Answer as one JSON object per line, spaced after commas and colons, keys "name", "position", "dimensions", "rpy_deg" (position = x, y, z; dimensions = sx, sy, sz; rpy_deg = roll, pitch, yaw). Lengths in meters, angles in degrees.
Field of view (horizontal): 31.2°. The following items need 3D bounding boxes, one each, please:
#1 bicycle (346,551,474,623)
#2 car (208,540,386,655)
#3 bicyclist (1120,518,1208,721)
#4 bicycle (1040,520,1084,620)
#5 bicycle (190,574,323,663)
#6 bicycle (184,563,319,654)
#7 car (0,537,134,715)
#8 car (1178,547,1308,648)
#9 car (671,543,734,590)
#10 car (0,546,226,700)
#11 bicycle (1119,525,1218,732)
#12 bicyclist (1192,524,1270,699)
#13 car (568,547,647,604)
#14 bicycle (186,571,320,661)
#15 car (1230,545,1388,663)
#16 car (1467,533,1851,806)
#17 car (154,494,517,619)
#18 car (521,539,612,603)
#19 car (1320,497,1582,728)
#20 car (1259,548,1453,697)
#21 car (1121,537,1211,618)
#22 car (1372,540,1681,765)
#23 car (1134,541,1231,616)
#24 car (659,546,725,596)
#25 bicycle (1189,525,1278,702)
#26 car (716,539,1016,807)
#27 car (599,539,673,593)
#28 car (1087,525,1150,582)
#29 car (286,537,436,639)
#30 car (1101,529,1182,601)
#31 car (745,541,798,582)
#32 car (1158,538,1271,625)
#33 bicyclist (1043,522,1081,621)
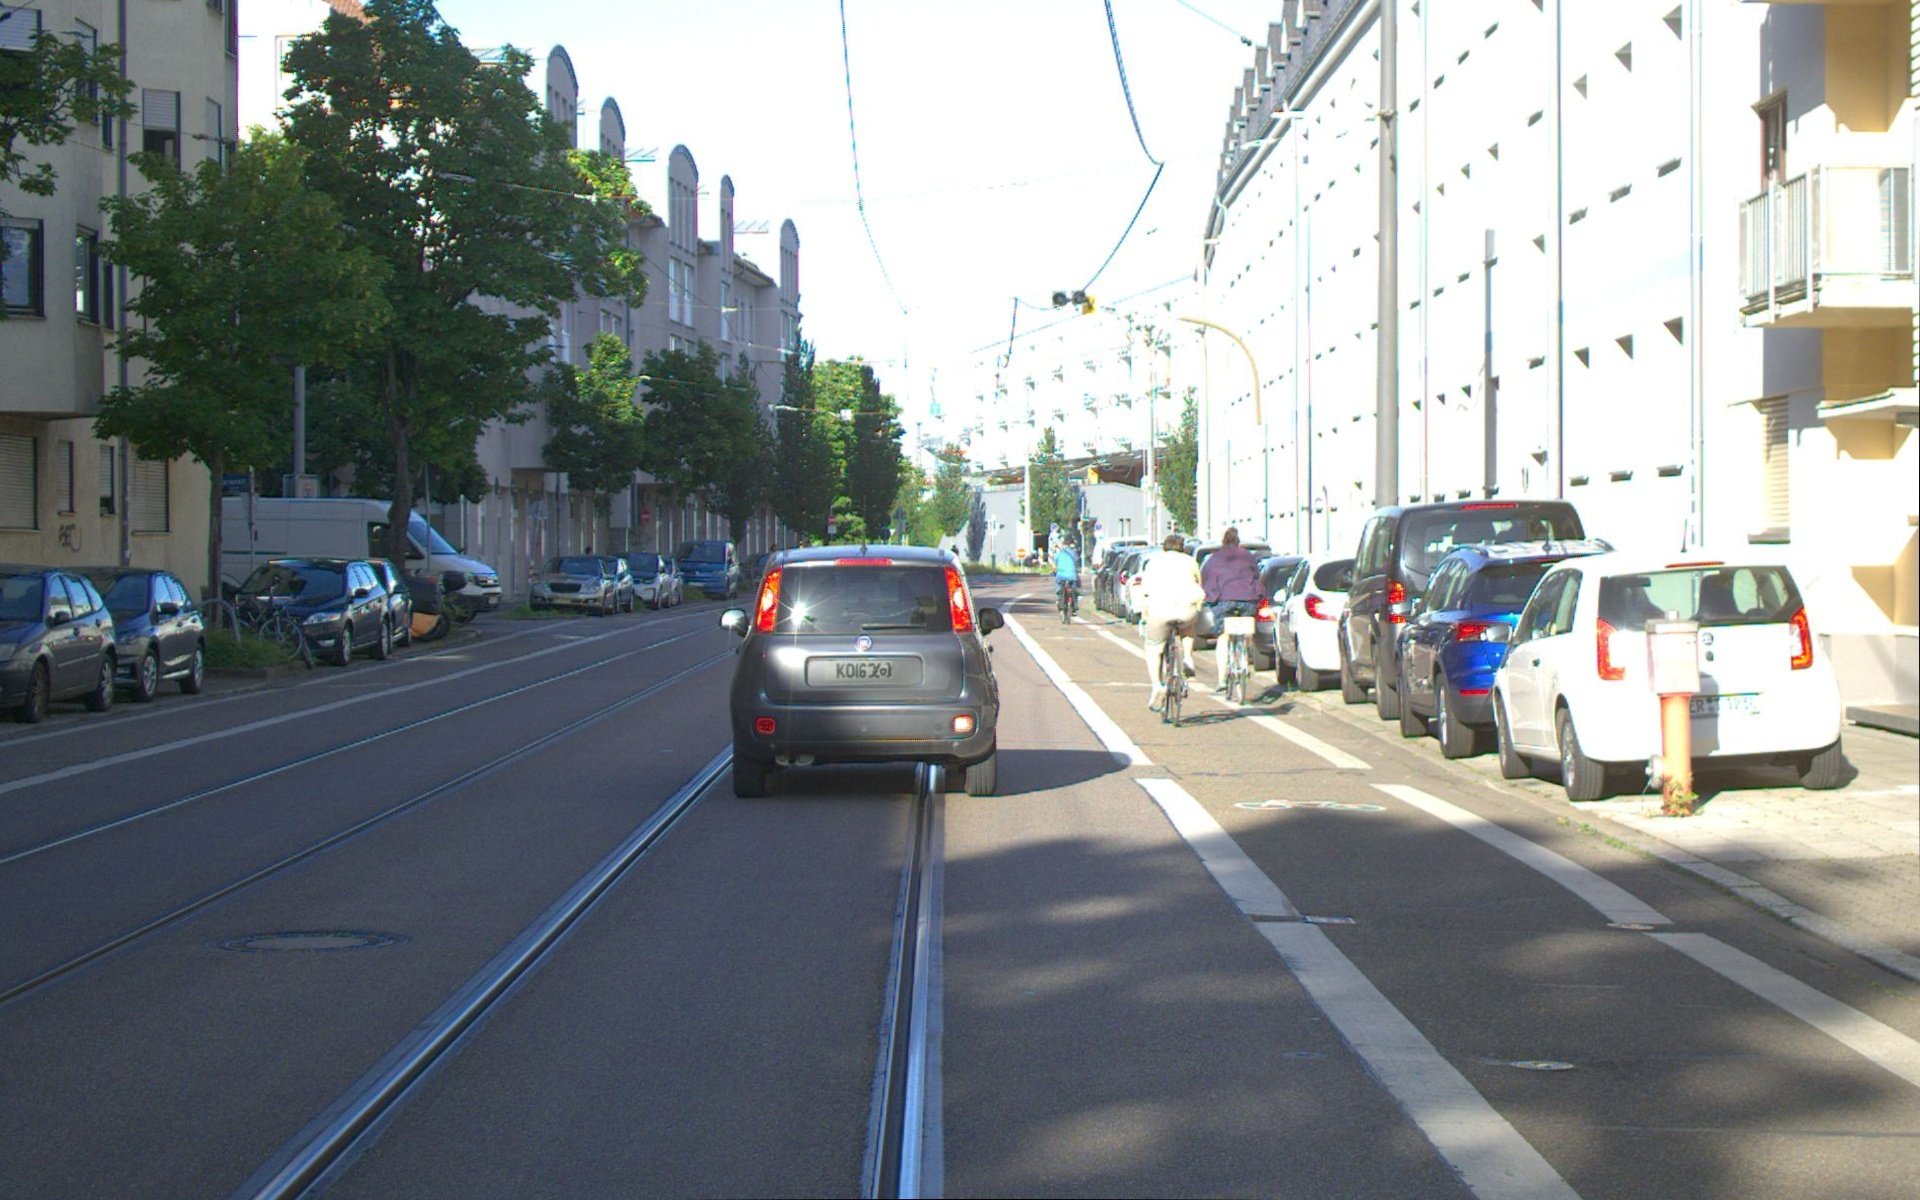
{"name": "bicycle", "position": [-10.162, -0.239, 63.534], "dimensions": [2.275, 1.284, 0.758], "rpy_deg": [1, 1, -5]}
{"name": "car", "position": [-9.478, -0.067, 49.435], "dimensions": [1.835, 1.551, 4.000], "rpy_deg": [1, 1, -1]}
{"name": "bicyclist", "position": [1.793, 0.163, 30.299], "dimensions": [0.699, 1.753, 0.757], "rpy_deg": [1, 1, -1]}
{"name": "bicycle", "position": [2.088, -0.623, 70.662], "dimensions": [0.741, 2.007, 2.812], "rpy_deg": [1, 1, -1]}
{"name": "bicycle", "position": [-9.613, 0.250, 46.978], "dimensions": [1.728, 1.192, 0.372], "rpy_deg": [1, 1, -3]}
{"name": "bicycle", "position": [-9.513, 0.111, 46.166], "dimensions": [1.728, 1.192, 0.372], "rpy_deg": [1, 1, -3]}
{"name": "car", "position": [-9.466, 0.201, 33.616], "dimensions": [1.808, 1.614, 4.064], "rpy_deg": [1, 1, 0]}
{"name": "car", "position": [4.311, -0.068, 52.808], "dimensions": [1.583, 1.400, 3.377], "rpy_deg": [-4, 1, -1]}
{"name": "car", "position": [-8.391, -1.101, 112.120], "dimensions": [1.707, 1.491, 3.722], "rpy_deg": [1, 1, 1]}
{"name": "car", "position": [-9.631, 0.210, 38.815], "dimensions": [1.808, 1.614, 4.064], "rpy_deg": [1, 1, 0]}
{"name": "bicycle", "position": [1.814, 0.224, 30.224], "dimensions": [0.675, 1.741, 2.158], "rpy_deg": [1, 1, -1]}
{"name": "bicyclist", "position": [2.760, 0.108, 35.029], "dimensions": [0.699, 1.753, 0.757], "rpy_deg": [1, 1, -1]}
{"name": "car", "position": [-9.538, -0.681, 93.301], "dimensions": [1.707, 1.491, 3.722], "rpy_deg": [1, 1, 1]}
{"name": "bicycle", "position": [-9.567, 0.212, 46.563], "dimensions": [1.728, 1.192, 0.372], "rpy_deg": [1, 1, -3]}
{"name": "car", "position": [4.369, 0.023, 43.402], "dimensions": [1.583, 1.400, 3.377], "rpy_deg": [1, 1, -1]}
{"name": "car", "position": [4.321, 0.372, 21.747], "dimensions": [1.655, 1.566, 3.499], "rpy_deg": [1, 1, -1]}
{"name": "car", "position": [-12.649, -0.900, 69.779], "dimensions": [6.904, 2.395, 2.175], "rpy_deg": [1, 1, 10]}
{"name": "car", "position": [-9.571, -0.725, 83.816], "dimensions": [1.707, 1.491, 3.722], "rpy_deg": [1, 1, 1]}
{"name": "car", "position": [4.409, 0.064, 31.512], "dimensions": [1.655, 1.937, 4.665], "rpy_deg": [1, 1, -1]}
{"name": "car", "position": [4.194, 0.206, 36.803], "dimensions": [1.655, 1.495, 3.130], "rpy_deg": [1, 1, -1]}
{"name": "car", "position": [4.217, -0.485, 70.790], "dimensions": [1.583, 1.593, 3.377], "rpy_deg": [1, 1, -1]}
{"name": "car", "position": [4.238, 0.341, 26.258], "dimensions": [1.655, 1.566, 3.876], "rpy_deg": [1, 1, -1]}
{"name": "car", "position": [4.276, -0.436, 66.433], "dimensions": [1.583, 1.400, 3.377], "rpy_deg": [1, 1, -1]}
{"name": "car", "position": [-8.320, -0.910, 106.973], "dimensions": [1.707, 1.491, 3.722], "rpy_deg": [1, 1, 1]}
{"name": "bicycle", "position": [2.773, 0.116, 35.033], "dimensions": [0.675, 1.741, 2.158], "rpy_deg": [1, 1, -1]}
{"name": "car", "position": [-0.515, 0.388, 22.187], "dimensions": [1.650, 1.536, 4.234], "rpy_deg": [1, 1, 2]}
{"name": "car", "position": [-9.222, -0.975, 98.127], "dimensions": [1.707, 1.491, 3.722], "rpy_deg": [1, 1, 1]}
{"name": "car", "position": [4.535, -1.341, 98.651], "dimensions": [1.583, 1.593, 3.377], "rpy_deg": [1, 1, -1]}
{"name": "car", "position": [-9.503, -0.215, 54.781], "dimensions": [1.835, 1.551, 3.377], "rpy_deg": [1, 1, -1]}
{"name": "car", "position": [4.121, -0.819, 78.479], "dimensions": [1.583, 1.593, 3.377], "rpy_deg": [1, 1, -1]}
{"name": "car", "position": [-7.013, -1.434, 127.888], "dimensions": [1.707, 1.491, 3.722], "rpy_deg": [1, 1, 1]}
{"name": "car", "position": [4.276, -0.338, 58.042], "dimensions": [1.583, 1.400, 3.377], "rpy_deg": [1, 1, -1]}
{"name": "bicyclist", "position": [2.089, -0.593, 70.834], "dimensions": [0.715, 2.007, 0.832], "rpy_deg": [1, 1, -1]}
